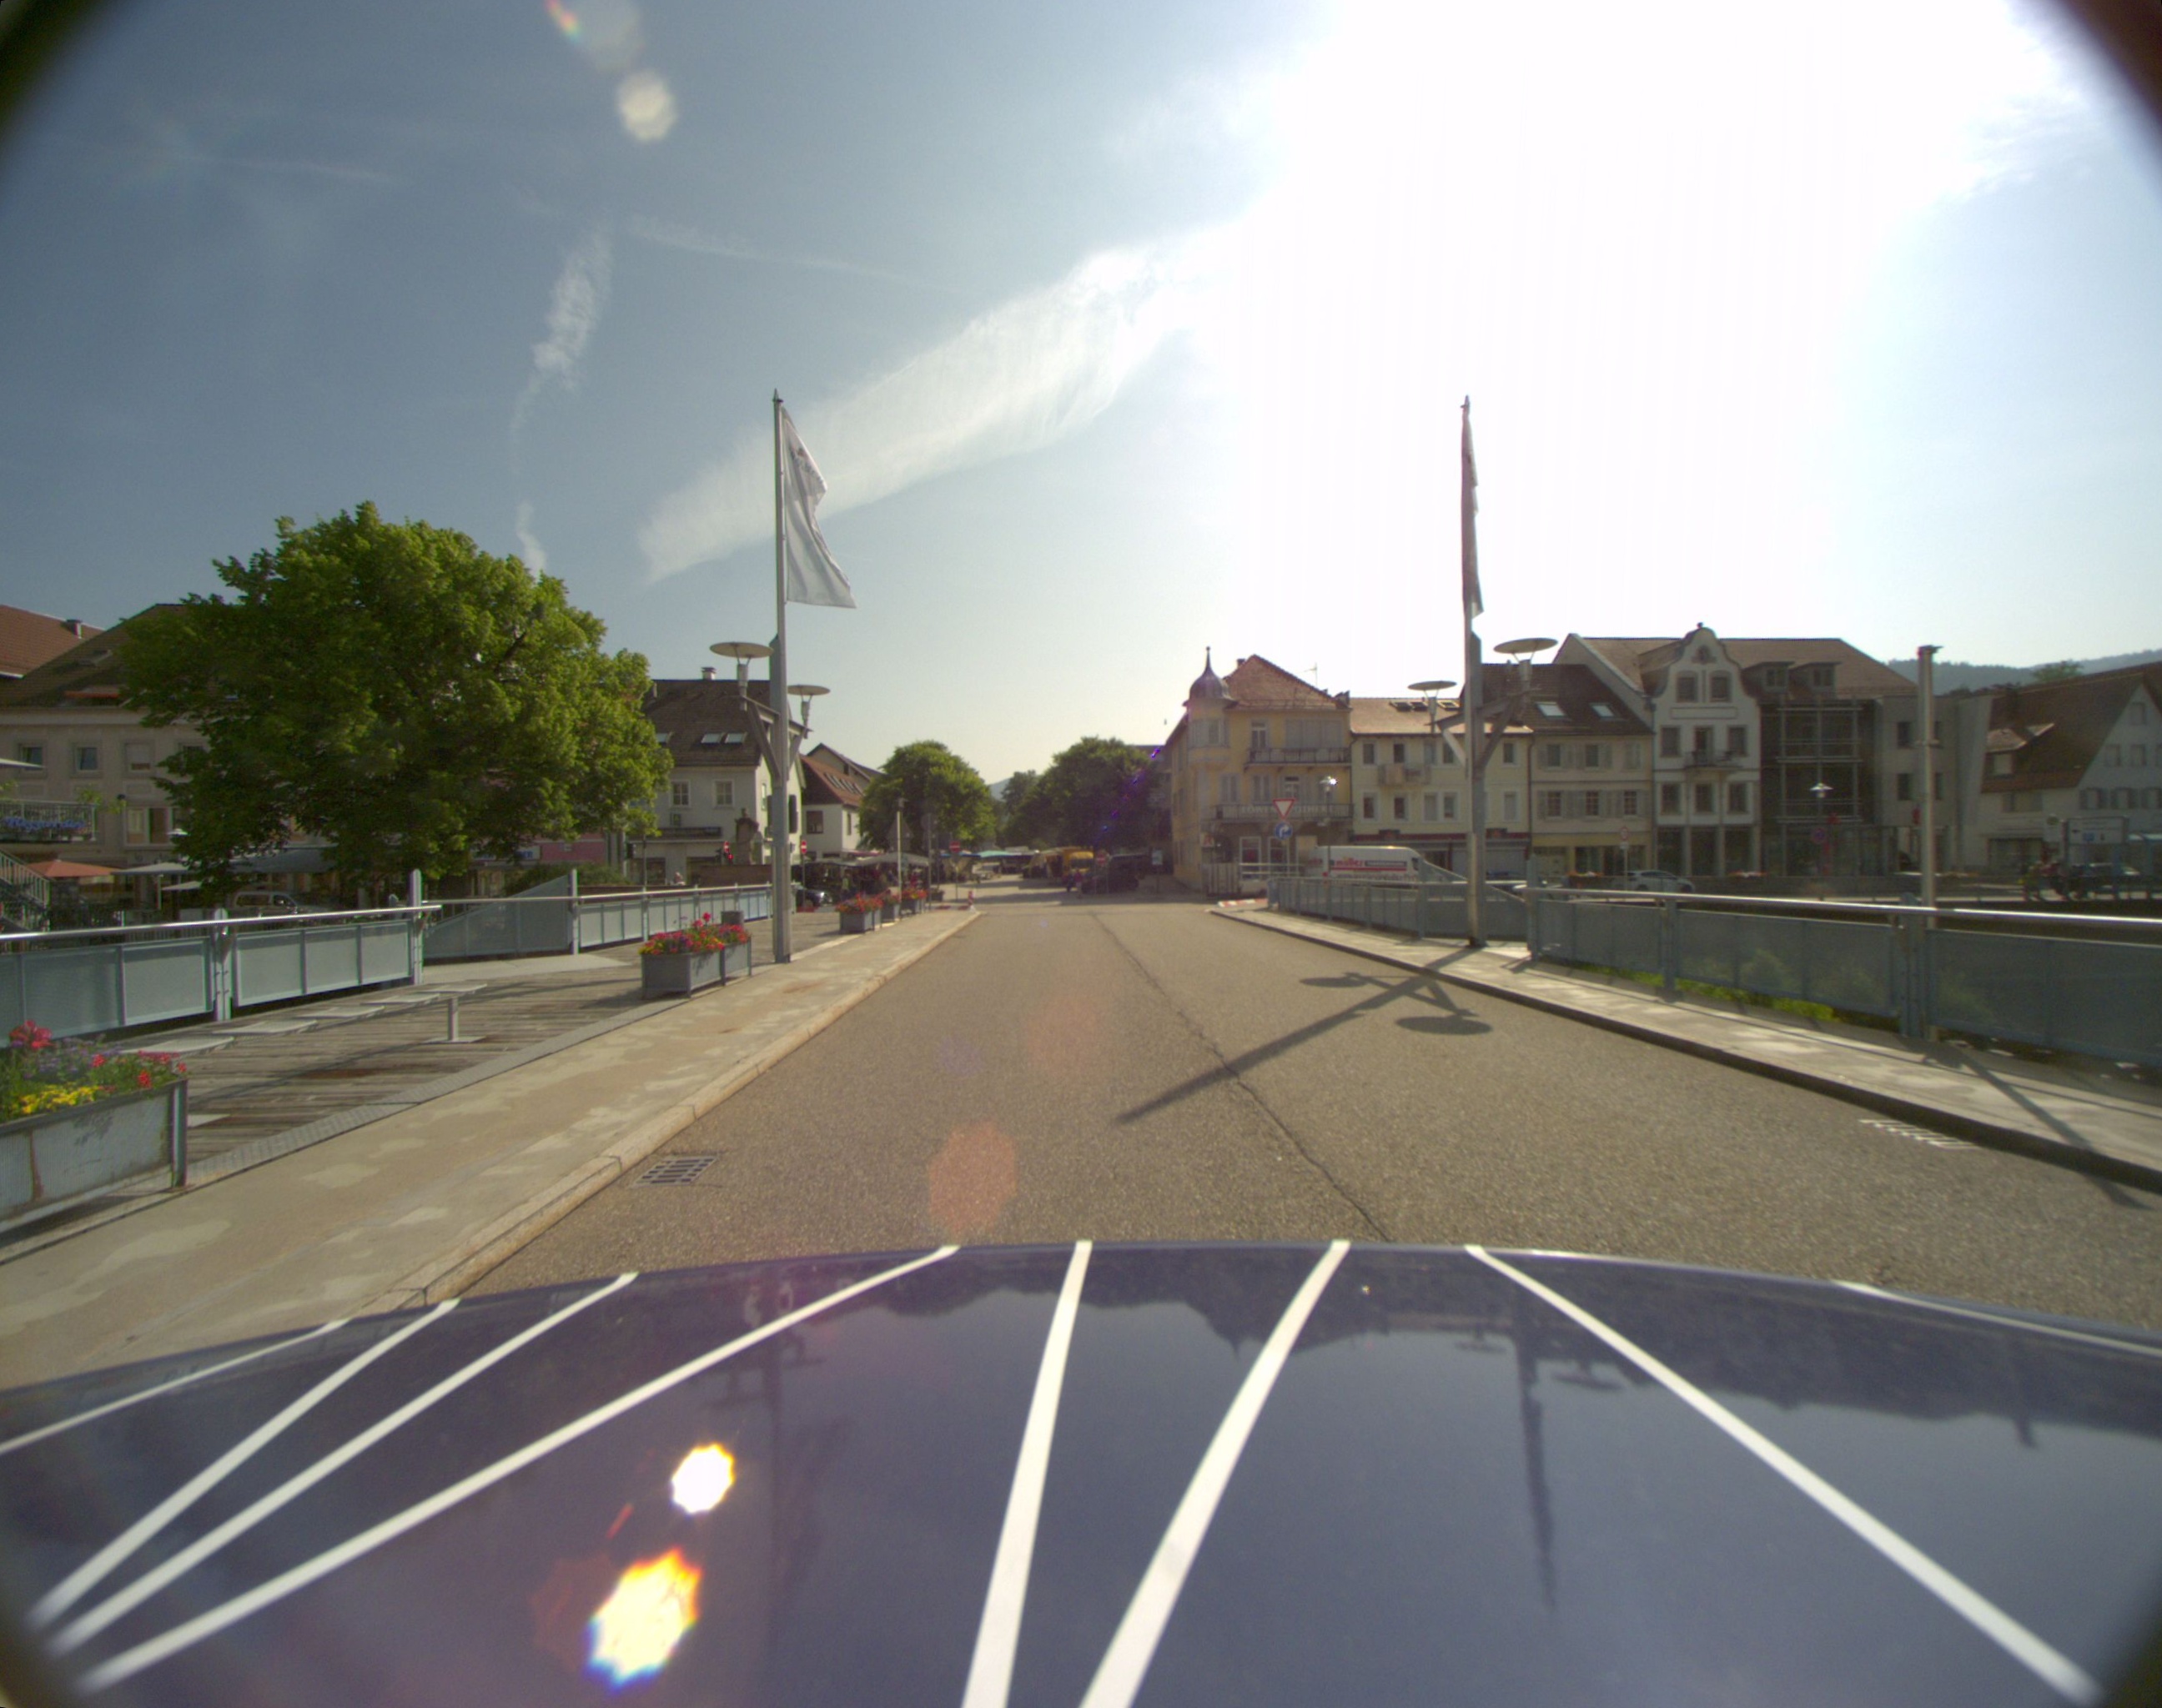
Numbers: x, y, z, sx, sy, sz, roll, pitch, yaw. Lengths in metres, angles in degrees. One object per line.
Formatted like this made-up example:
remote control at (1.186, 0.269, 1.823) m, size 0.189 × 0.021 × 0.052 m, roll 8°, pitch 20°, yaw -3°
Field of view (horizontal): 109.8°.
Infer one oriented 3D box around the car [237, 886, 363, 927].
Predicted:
car at (-38.645, 2.583, 37.681) m, size 4.145 × 1.729 × 1.710 m, roll -2°, pitch 2°, yaw -6°

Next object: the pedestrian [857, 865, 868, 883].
pedestrian at (-16.985, 1.550, 59.007) m, size 0.626 × 1.323 × 0.699 m, roll 1°, pitch 1°, yaw 0°

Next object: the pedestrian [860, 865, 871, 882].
pedestrian at (-16.948, 1.521, 59.797) m, size 0.626 × 1.323 × 0.699 m, roll 1°, pitch 1°, yaw 0°

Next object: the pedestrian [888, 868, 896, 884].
pedestrian at (-14.663, 1.733, 58.862) m, size 0.572 × 1.194 × 0.650 m, roll 1°, pitch 1°, yaw -14°

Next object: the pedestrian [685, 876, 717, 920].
pedestrian at (-16.204, 1.862, 32.381) m, size 1.018 × 1.804 × 0.909 m, roll -2°, pitch -2°, yaw 44°

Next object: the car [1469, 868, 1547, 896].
car at (23.151, 1.488, 41.302) m, size 3.275 × 1.439 × 1.752 m, roll -1°, pitch 0°, yaw -5°

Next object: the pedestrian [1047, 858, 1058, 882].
pedestrian at (-2.185, 1.239, 58.107) m, size 0.681 × 1.776 × 0.726 m, roll -3°, pitch 2°, yaw -6°

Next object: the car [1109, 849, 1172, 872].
car at (5.132, 0.557, 65.910) m, size 5.072 × 1.880 × 1.999 m, roll -1°, pitch 0°, yaw -8°

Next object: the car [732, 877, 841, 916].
car at (-14.140, 2.025, 36.669) m, size 4.498 × 1.557 × 1.823 m, roll -2°, pitch 2°, yaw -6°

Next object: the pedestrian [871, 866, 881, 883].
pedestrian at (-16.307, 1.596, 60.389) m, size 0.626 × 1.323 × 0.699 m, roll 1°, pitch 1°, yaw 0°

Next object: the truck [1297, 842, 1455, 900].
truck at (14.383, 0.826, 37.143) m, size 7.134 × 2.682 × 2.110 m, roll 0°, pitch -2°, yaw -11°

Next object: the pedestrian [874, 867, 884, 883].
pedestrian at (-15.748, 1.648, 59.217) m, size 0.572 × 1.194 × 0.650 m, roll 1°, pitch 1°, yaw -3°

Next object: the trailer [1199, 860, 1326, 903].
trailer at (8.495, 1.207, 35.323) m, size 5.648 × 1.816 × 2.612 m, roll 0°, pitch -1°, yaw -35°

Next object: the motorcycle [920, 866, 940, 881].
motorcycle at (-12.715, 1.618, 64.026) m, size 1.532 × 1.188 × 0.643 m, roll 1°, pitch 0°, yaw -4°

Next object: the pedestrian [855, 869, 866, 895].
pedestrian at (-14.067, 1.775, 48.444) m, size 0.522 × 1.617 × 0.707 m, roll -1°, pitch 0°, yaw -8°

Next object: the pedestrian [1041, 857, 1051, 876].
pedestrian at (-3.150, 1.090, 68.849) m, size 0.682 × 1.672 × 0.582 m, roll -3°, pitch 2°, yaw -20°

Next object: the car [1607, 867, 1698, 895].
car at (31.430, 1.469, 41.847) m, size 3.793 × 1.439 × 1.752 m, roll -1°, pitch 0°, yaw -5°

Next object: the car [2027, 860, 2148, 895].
car at (49.640, 1.134, 37.511) m, size 3.969 × 1.551 × 1.683 m, roll -2°, pitch 0°, yaw -4°

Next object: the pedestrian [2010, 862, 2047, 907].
pedestrian at (37.052, 1.188, 29.721) m, size 0.491 × 1.696 × 0.791 m, roll -1°, pitch 1°, yaw -2°

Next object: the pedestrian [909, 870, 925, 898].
pedestrian at (-9.671, 1.767, 44.843) m, size 0.884 × 1.649 × 0.571 m, roll 1°, pitch 1°, yaw -12°

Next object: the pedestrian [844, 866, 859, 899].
pedestrian at (-13.716, 1.691, 45.429) m, size 0.708 × 1.973 × 0.651 m, roll -1°, pitch 0°, yaw -25°

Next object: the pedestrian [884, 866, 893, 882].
pedestrian at (-15.565, 1.621, 61.381) m, size 0.572 × 1.194 × 0.650 m, roll 1°, pitch 1°, yaw -3°

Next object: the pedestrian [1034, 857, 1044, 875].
pedestrian at (-3.828, 1.100, 69.547) m, size 0.682 × 1.672 × 0.582 m, roll -3°, pitch 0°, yaw -19°

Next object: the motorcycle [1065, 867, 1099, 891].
motorcycle at (0.054, 1.612, 49.092) m, size 2.087 × 1.353 × 0.888 m, roll -3°, pitch 1°, yaw -5°

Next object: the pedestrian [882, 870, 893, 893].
pedestrian at (-12.807, 1.805, 50.224) m, size 0.622 × 1.509 × 0.632 m, roll -1°, pitch 0°, yaw -19°

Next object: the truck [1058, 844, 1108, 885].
truck at (0.009, 0.683, 57.101) m, size 3.009 × 2.742 × 8.856 m, roll -2°, pitch 1°, yaw -4°

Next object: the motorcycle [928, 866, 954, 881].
motorcycle at (-11.580, 1.591, 62.971) m, size 2.002 × 1.189 × 0.644 m, roll 1°, pitch 1°, yaw 10°

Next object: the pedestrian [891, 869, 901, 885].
pedestrian at (-14.161, 1.727, 58.095) m, size 0.700 × 1.194 × 0.571 m, roll 1°, pitch 1°, yaw -17°

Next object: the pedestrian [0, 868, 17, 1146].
pedestrian at (-6.564, 0.894, 4.130) m, size 0.668 × 1.609 × 0.563 m, roll -2°, pitch 0°, yaw -12°

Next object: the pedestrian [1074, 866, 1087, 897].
pedestrian at (-0.039, 1.553, 42.578) m, size 0.679 × 1.705 × 0.617 m, roll -2°, pitch 1°, yaw 0°

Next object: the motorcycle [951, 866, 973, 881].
motorcycle at (-10.111, 1.635, 64.688) m, size 1.999 × 1.188 × 0.645 m, roll 1°, pitch 0°, yaw 38°

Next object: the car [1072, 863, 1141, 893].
car at (1.610, 1.441, 46.619) m, size 3.966 × 1.534 × 1.918 m, roll -3°, pitch 2°, yaw -43°

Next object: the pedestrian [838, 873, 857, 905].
pedestrian at (-12.587, 1.868, 41.000) m, size 0.860 × 1.623 × 0.786 m, roll -3°, pitch 3°, yaw -23°

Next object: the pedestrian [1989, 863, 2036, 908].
pedestrian at (36.378, 1.219, 29.683) m, size 0.777 × 1.696 × 0.869 m, roll -1°, pitch 1°, yaw -2°

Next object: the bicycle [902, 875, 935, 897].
bicycle at (-9.808, 1.924, 45.921) m, size 1.864 × 1.228 × 0.616 m, roll -1°, pitch 0°, yaw -17°

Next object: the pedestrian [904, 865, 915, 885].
pedestrian at (-13.292, 1.621, 58.921) m, size 0.699 × 1.544 × 0.572 m, roll 1°, pitch 1°, yaw 2°

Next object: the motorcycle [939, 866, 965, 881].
motorcycle at (-10.804, 1.613, 63.728) m, size 2.002 × 1.188 × 0.644 m, roll 1°, pitch 0°, yaw 10°
